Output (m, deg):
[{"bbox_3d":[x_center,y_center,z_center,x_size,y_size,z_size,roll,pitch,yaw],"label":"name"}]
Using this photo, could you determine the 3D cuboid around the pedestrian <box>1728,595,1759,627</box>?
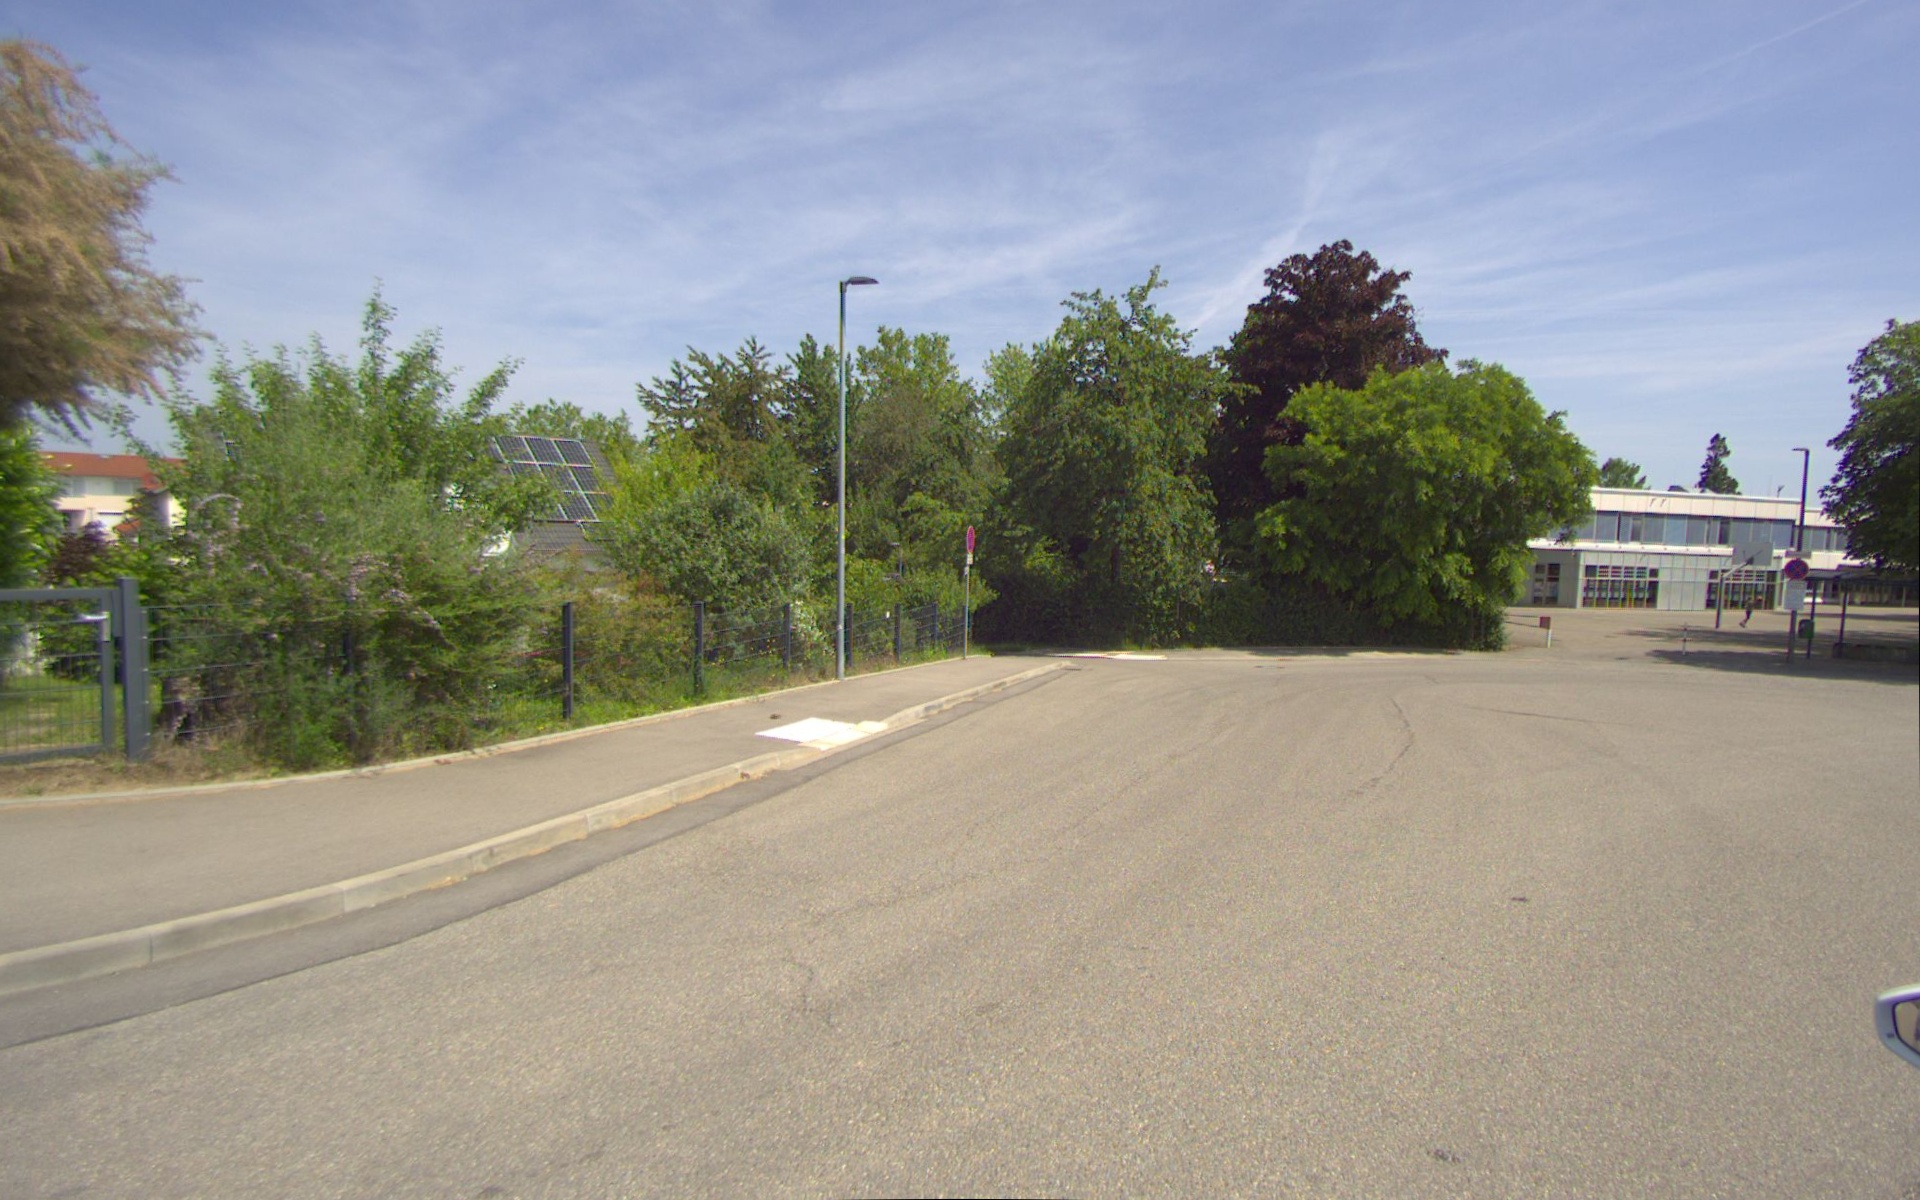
[{"bbox_3d":[36.833,0.501,47.236,1.052,1.442,0.916,4,3,35],"label":"pedestrian"}]
